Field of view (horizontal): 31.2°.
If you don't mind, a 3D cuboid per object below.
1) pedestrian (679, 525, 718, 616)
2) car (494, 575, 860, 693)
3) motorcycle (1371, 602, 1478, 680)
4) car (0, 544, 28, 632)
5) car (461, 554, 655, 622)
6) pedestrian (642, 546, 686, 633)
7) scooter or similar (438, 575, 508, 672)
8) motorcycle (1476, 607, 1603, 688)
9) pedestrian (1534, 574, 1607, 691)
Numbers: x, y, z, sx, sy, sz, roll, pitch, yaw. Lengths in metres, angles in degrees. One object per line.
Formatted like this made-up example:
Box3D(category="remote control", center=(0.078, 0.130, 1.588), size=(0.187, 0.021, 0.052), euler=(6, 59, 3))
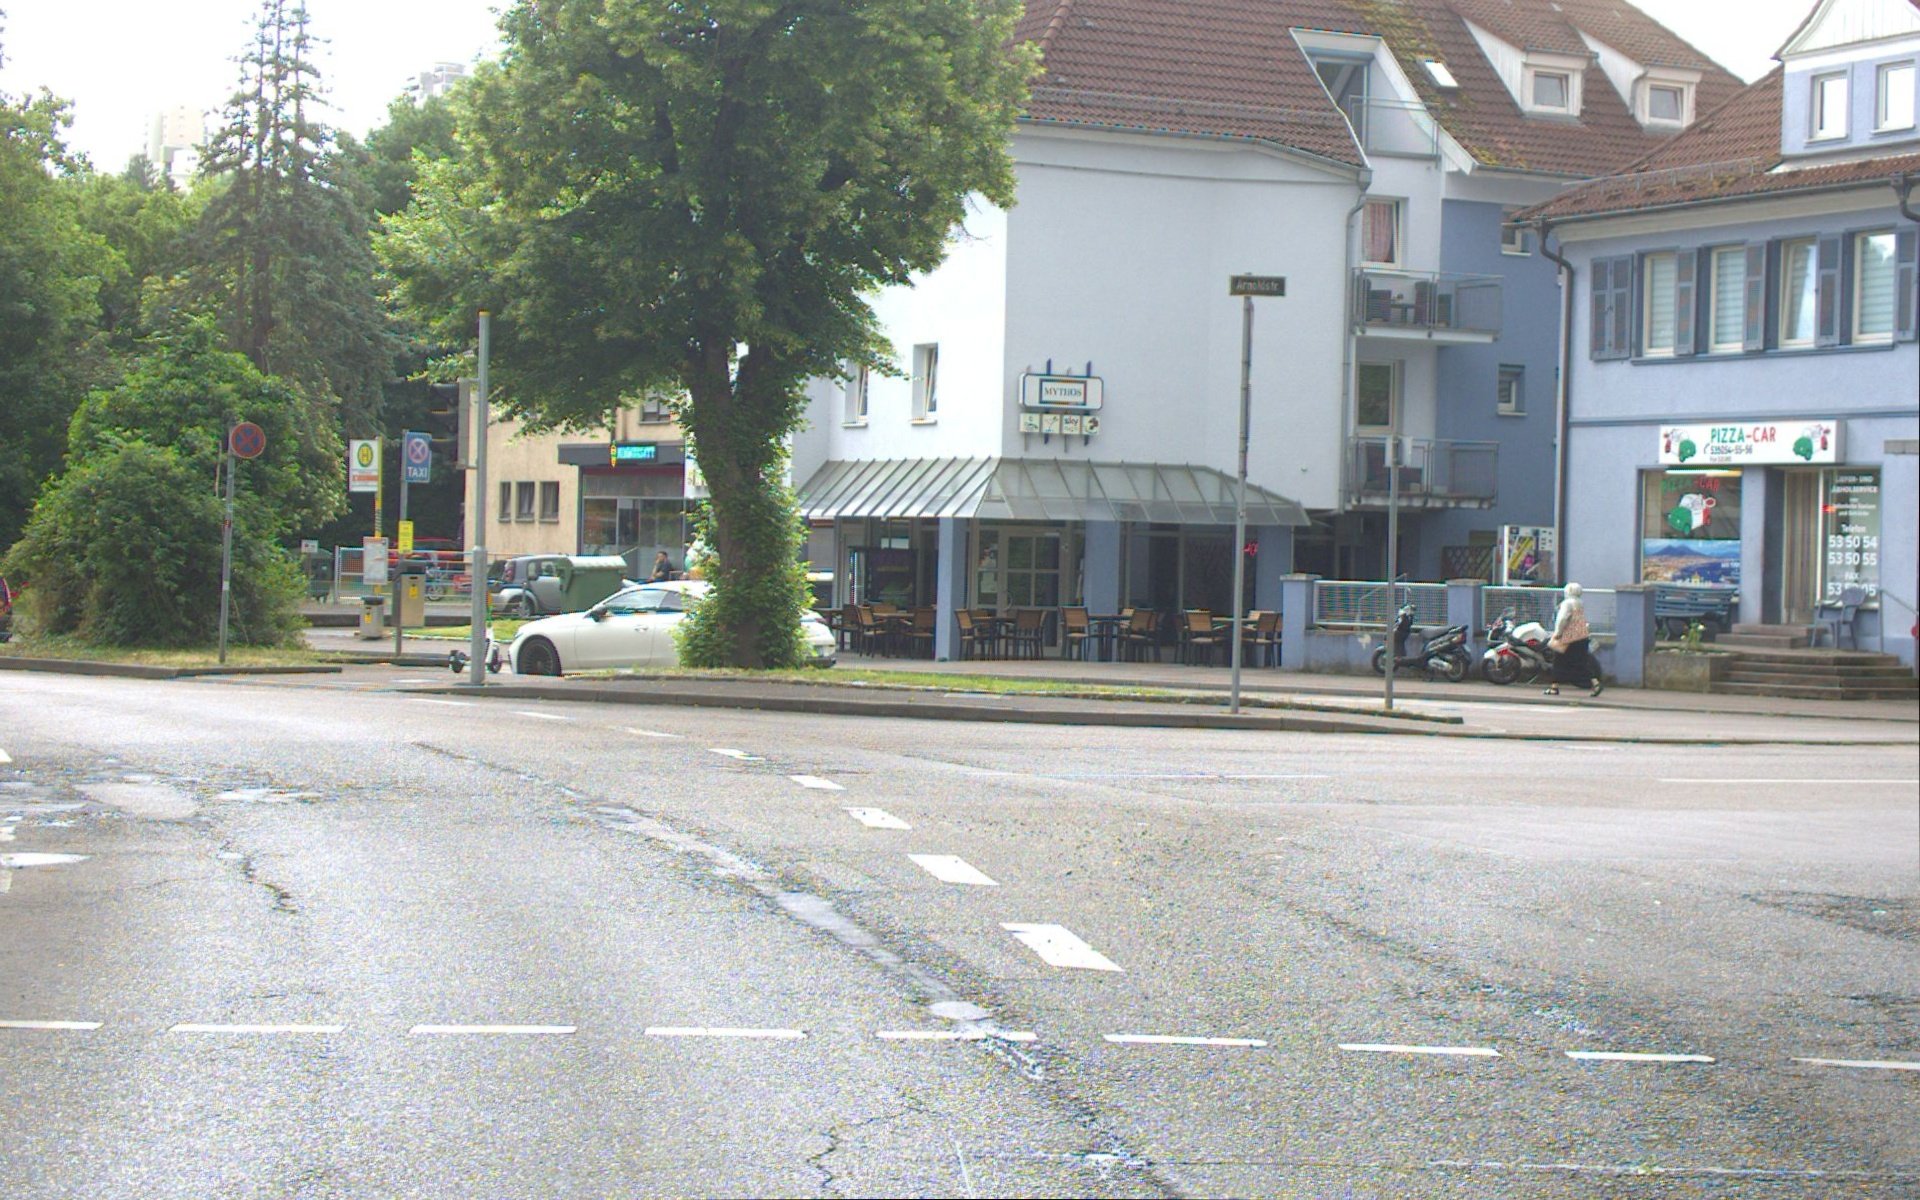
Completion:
Box3D(category="pedestrian", center=(-4.506, -0.503, 59.228), size=(0.543, 1.554, 0.467), euler=(0, 0, 13))
Box3D(category="car", center=(-3.802, 0.421, 45.763), size=(4.709, 1.405, 1.898), euler=(2, 1, 35))
Box3D(category="motorcycle", center=(6.776, 0.592, 50.135), size=(1.458, 1.085, 0.523), euler=(1, 1, 35))
Box3D(category="car", center=(-16.417, -0.217, 53.524), size=(3.322, 1.347, 1.778), euler=(1, 1, 27))
Box3D(category="car", center=(-8.851, -0.271, 75.632), size=(3.936, 1.437, 1.753), euler=(1, 1, -20))
Box3D(category="pedestrian", center=(-6.942, -0.257, 80.692), size=(0.837, 2.007, 1.056), euler=(1, 1, -14))
Box3D(category="scooter or similar", center=(-6.028, 0.283, 42.619), size=(0.442, 1.171, 1.437), euler=(1, 1, 9))
Box3D(category="motorcycle", center=(8.152, 0.663, 48.365), size=(1.628, 1.085, 0.626), euler=(1, 1, 32))
Box3D(category="pedestrian", center=(8.266, 0.434, 46.565), size=(0.732, 1.554, 0.767), euler=(1, 0, 31))
